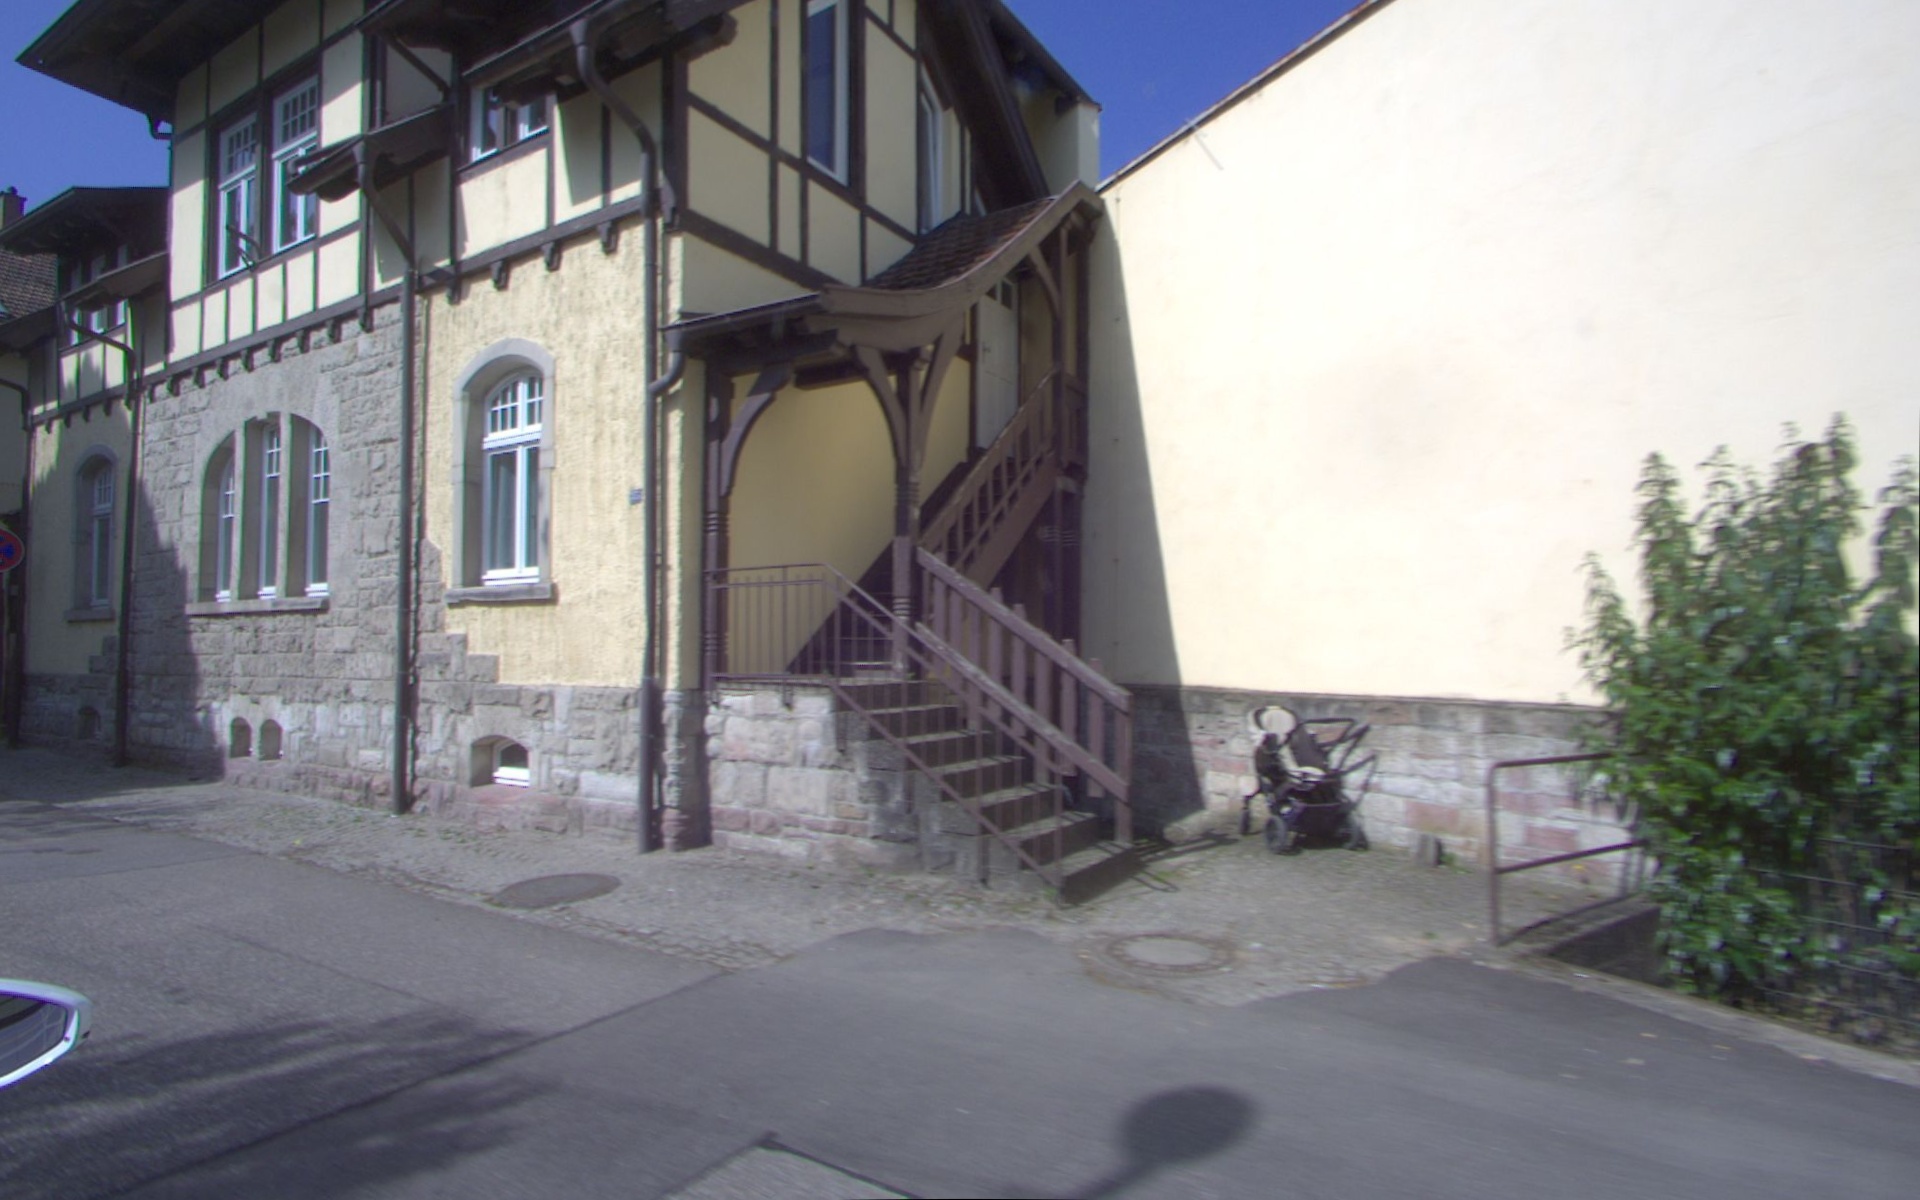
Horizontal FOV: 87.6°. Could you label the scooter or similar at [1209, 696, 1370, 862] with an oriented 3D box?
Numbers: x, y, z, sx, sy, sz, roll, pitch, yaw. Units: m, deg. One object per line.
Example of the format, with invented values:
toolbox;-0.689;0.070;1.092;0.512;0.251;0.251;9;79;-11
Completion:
scooter or similar;2.456;1.295;7.537;0.613;1.077;1.006;1;-2;-28
